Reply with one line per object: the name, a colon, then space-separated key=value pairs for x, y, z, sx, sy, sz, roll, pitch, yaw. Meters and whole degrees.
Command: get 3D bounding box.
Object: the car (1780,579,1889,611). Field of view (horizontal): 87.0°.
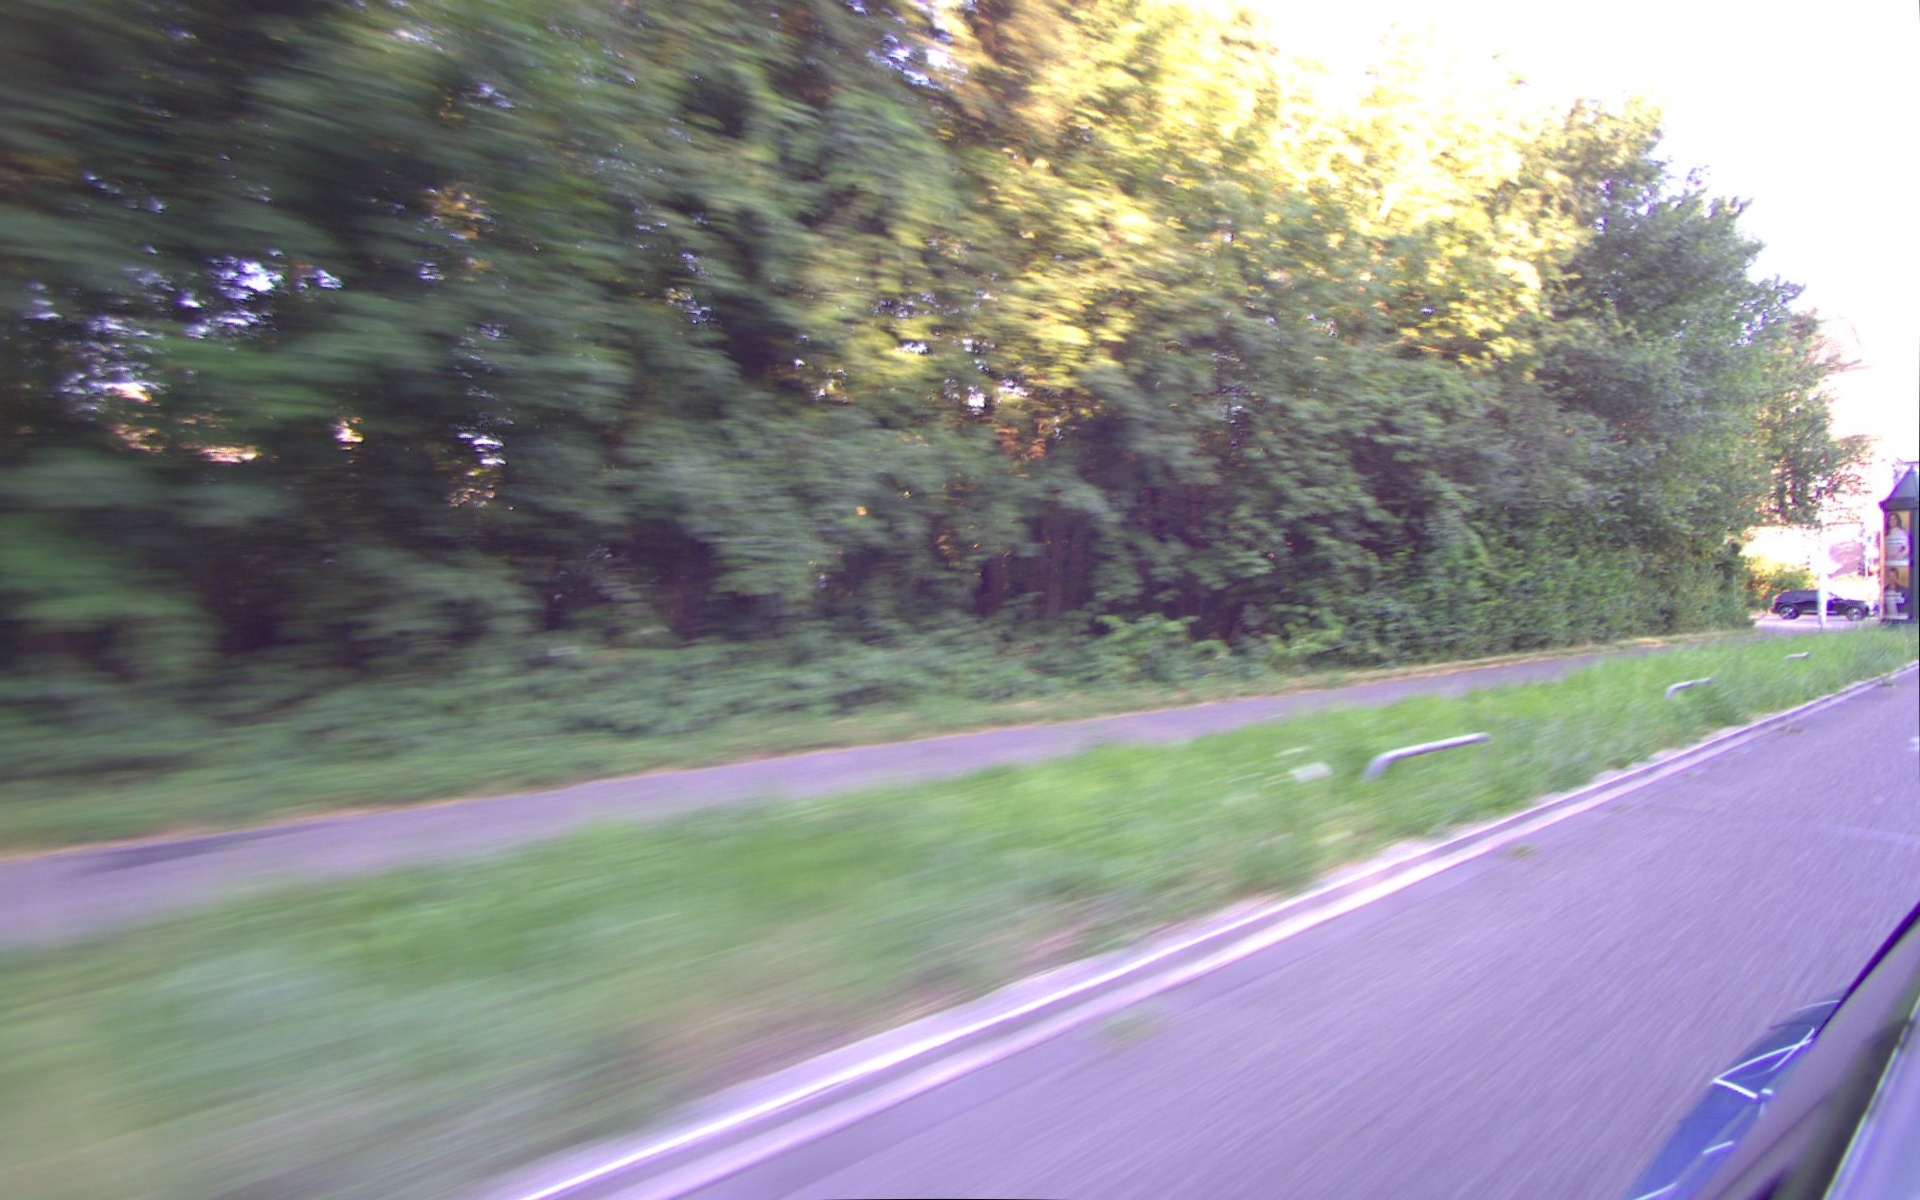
car: x=44.142 y=-0.267 z=51.157 sx=1.655 sy=1.555 sz=3.993 roll=0 pitch=1 yaw=-42
